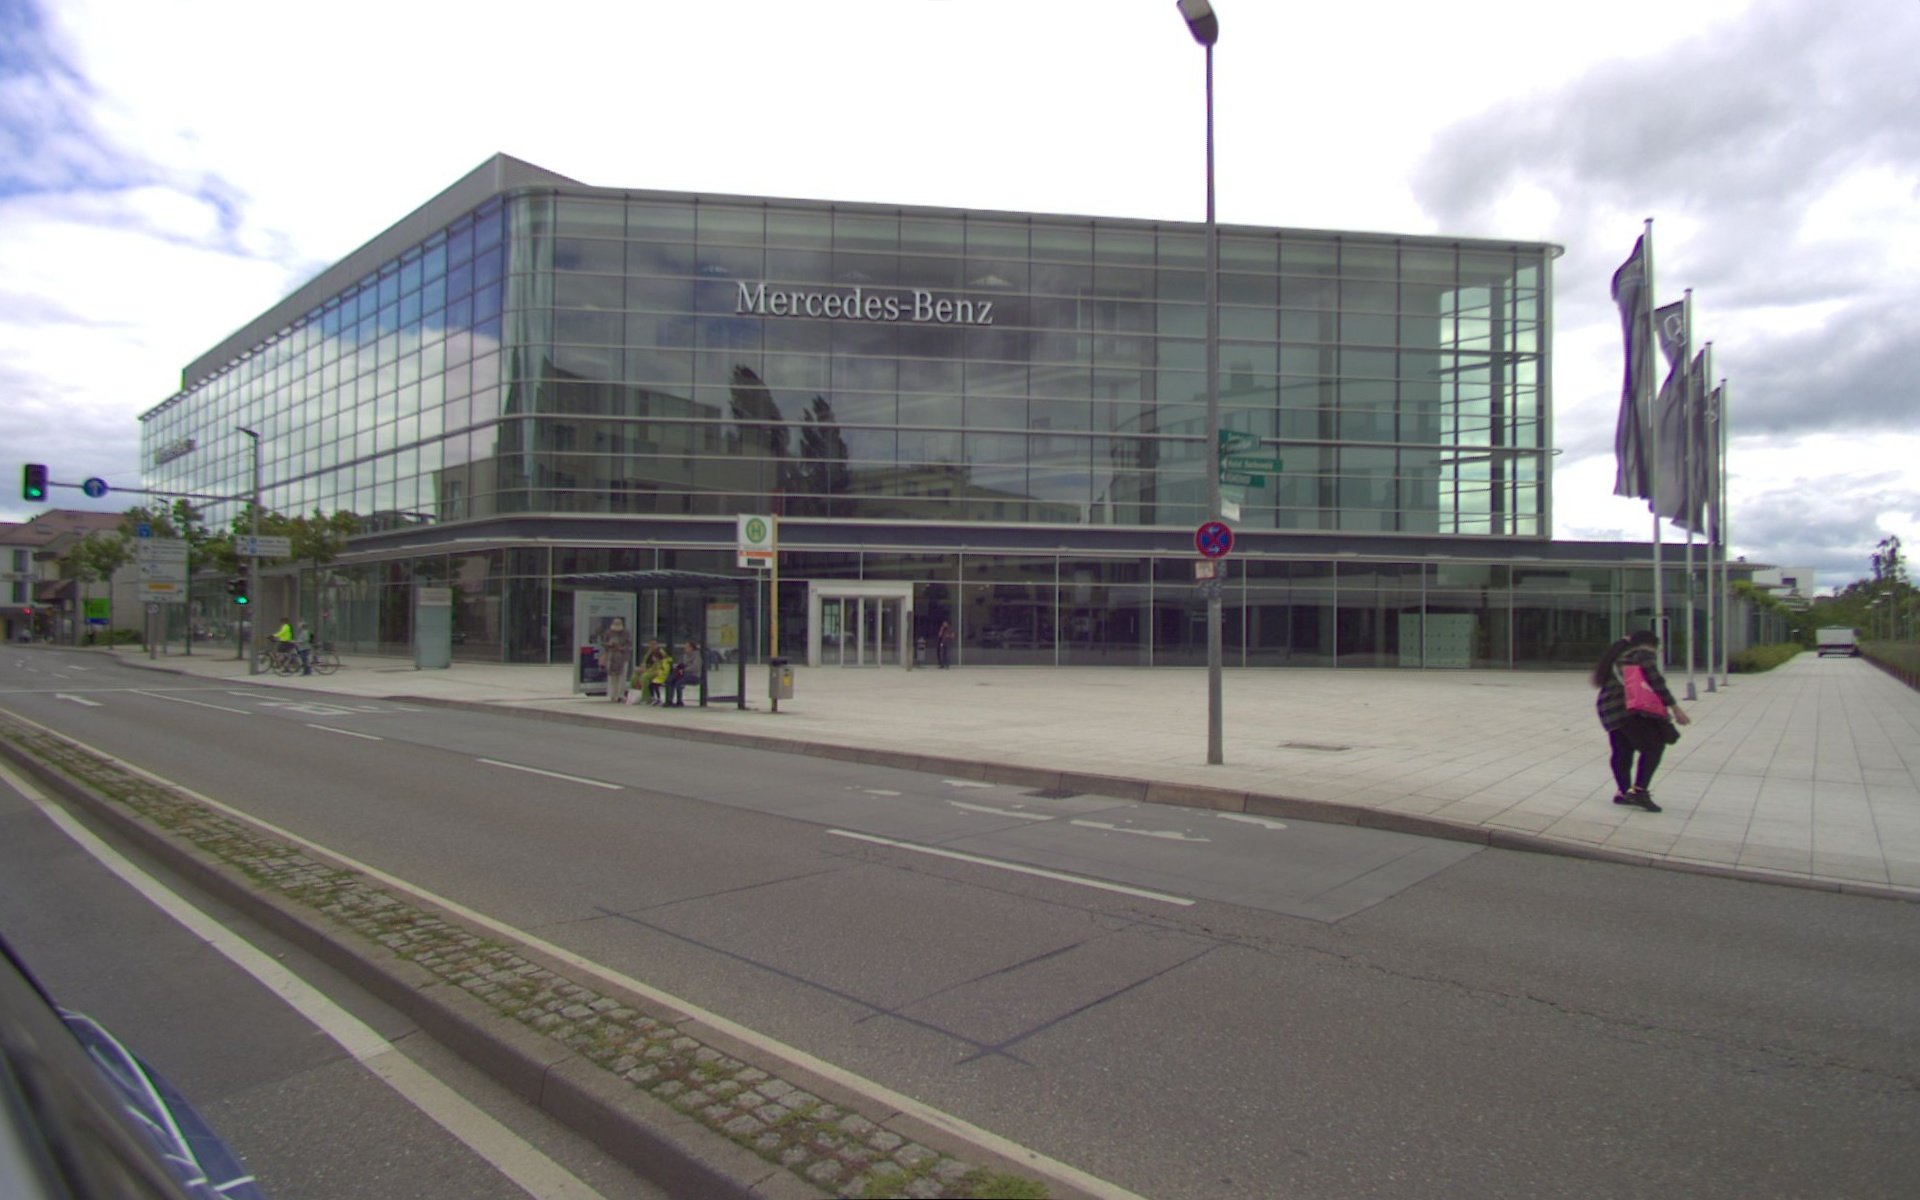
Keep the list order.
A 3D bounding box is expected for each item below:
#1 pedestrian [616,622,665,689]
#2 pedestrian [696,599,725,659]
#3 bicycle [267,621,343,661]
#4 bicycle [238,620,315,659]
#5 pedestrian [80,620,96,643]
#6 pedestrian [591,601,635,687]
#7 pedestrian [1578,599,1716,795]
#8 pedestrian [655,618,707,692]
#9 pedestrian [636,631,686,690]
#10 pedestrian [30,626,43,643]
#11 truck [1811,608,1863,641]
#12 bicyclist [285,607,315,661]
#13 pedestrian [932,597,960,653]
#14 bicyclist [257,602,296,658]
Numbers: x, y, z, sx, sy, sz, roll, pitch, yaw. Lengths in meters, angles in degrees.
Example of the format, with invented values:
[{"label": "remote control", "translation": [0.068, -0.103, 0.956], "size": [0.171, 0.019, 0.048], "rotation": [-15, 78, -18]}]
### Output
[{"label": "pedestrian", "translation": [-6.171, 1.062, 19.533], "size": [0.576, 1.263, 0.677], "rotation": [-1, -3, 40]}, {"label": "pedestrian", "translation": [-8.290, 0.956, 33.634], "size": [0.740, 1.960, 0.902], "rotation": [0, -1, 2]}, {"label": "bicycle", "translation": [-20.529, 1.265, 31.751], "size": [1.973, 1.139, 0.640], "rotation": [-1, 0, -34]}, {"label": "bicycle", "translation": [-22.729, 1.305, 33.673], "size": [2.000, 1.215, 0.748], "rotation": [-1, 0, -4]}, {"label": "pedestrian", "translation": [-61.732, 2.234, 71.647], "size": [0.693, 1.636, 0.693], "rotation": [-2, -3, 41]}, {"label": "pedestrian", "translation": [-6.774, 0.855, 19.780], "size": [0.568, 1.643, 0.686], "rotation": [1, -3, 0]}, {"label": "pedestrian", "translation": [5.944, 0.790, 8.762], "size": [0.820, 1.579, 0.814], "rotation": [0, -1, -44]}, {"label": "pedestrian", "translation": [-5.158, 1.011, 18.735], "size": [0.576, 1.330, 0.677], "rotation": [-1, -4, 40]}, {"label": "pedestrian", "translation": [-5.660, 1.152, 19.176], "size": [0.576, 1.084, 0.677], "rotation": [-1, -4, 40]}, {"label": "pedestrian", "translation": [-83.150, 3.143, 91.108], "size": [0.577, 1.527, 0.552], "rotation": [0, -2, 9]}, {"label": "truck", "translation": [64.969, 1.771, 75.092], "size": [2.384, 2.299, 6.358], "rotation": [-1, 0, 36]}, {"label": "bicyclist", "translation": [-20.654, 1.056, 31.674], "size": [0.771, 1.661, 0.640], "rotation": [-1, 0, -34]}, {"label": "pedestrian", "translation": [-0.494, 0.867, 35.681], "size": [0.747, 1.960, 0.680], "rotation": [-1, -1, 28]}, {"label": "bicyclist", "translation": [-22.736, 0.993, 33.675], "size": [0.762, 1.813, 0.748], "rotation": [-1, 0, -5]}]
